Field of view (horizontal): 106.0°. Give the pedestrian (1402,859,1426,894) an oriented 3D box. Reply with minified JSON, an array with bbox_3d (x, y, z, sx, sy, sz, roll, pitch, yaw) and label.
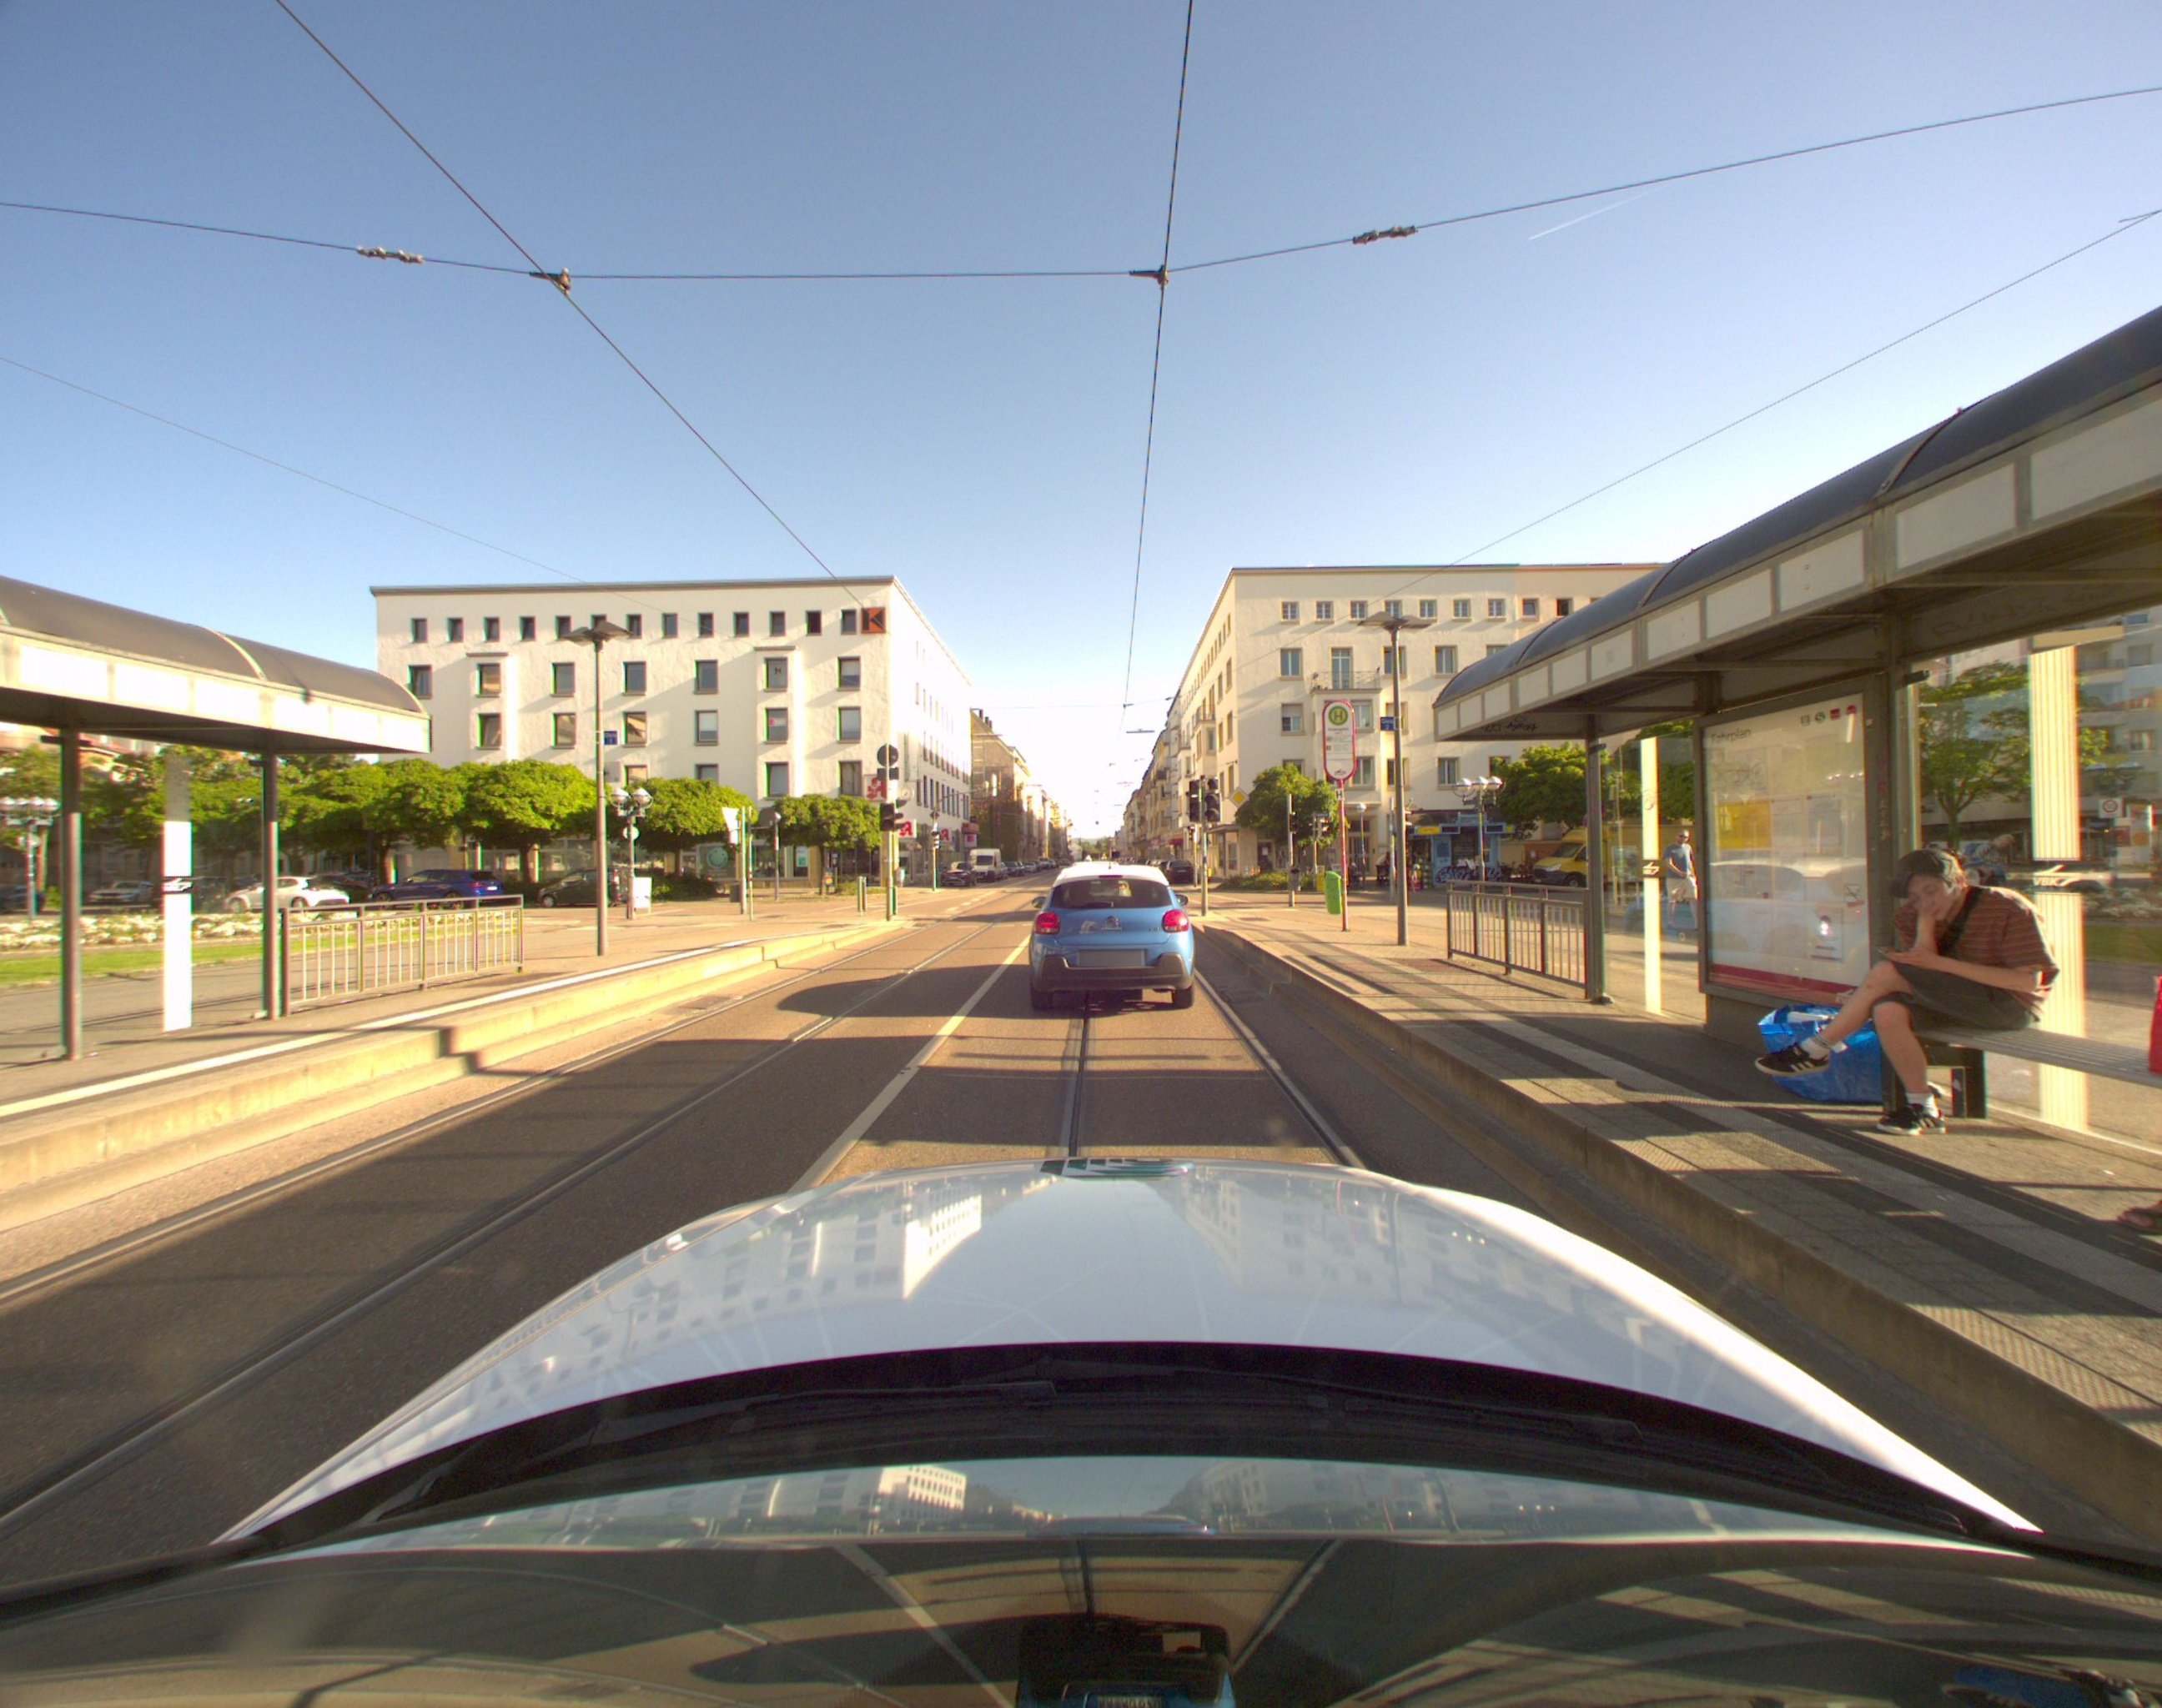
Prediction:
[{"bbox_3d":[14.072,0.948,34.443,0.727,1.409,0.755,-1,3,1],"label":"pedestrian"}]

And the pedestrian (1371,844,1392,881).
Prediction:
[{"bbox_3d":[15.046,0.409,40.751,0.781,1.839,0.679,-1,-1,5],"label":"pedestrian"}]

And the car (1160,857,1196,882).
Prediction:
[{"bbox_3d":[6.015,0.934,50.887,1.902,1.464,4.002,-1,0,2],"label":"car"}]

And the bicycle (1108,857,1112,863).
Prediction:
[{"bbox_3d":[6.868,1.466,190.309,0.916,1.389,3.133,-1,0,2],"label":"bicycle"}]

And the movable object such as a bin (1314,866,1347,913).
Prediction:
[{"bbox_3d":[4.304,0.610,14.070,0.447,0.786,0.489,-1,-1,4],"label":"movable object such as a bin"}]

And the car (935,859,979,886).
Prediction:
[{"bbox_3d":[-7.732,1.120,51.204,1.987,1.569,4.403,2,-1,1],"label":"car"}]

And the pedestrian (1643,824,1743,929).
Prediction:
[{"bbox_3d":[11.466,0.413,15.304,0.978,1.878,1.128,-1,-2,-1],"label":"pedestrian"}]

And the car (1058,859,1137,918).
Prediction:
[{"bbox_3d":[0.486,0.872,22.782,1.977,1.464,4.817,0,0,2],"label":"car"}]

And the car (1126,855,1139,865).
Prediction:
[{"bbox_3d":[8.247,0.996,131.742,1.986,1.464,4.002,-1,0,2],"label":"car"}]

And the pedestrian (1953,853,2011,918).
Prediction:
[{"bbox_3d":[16.610,0.579,15.021,0.466,1.169,0.559,0,-1,10],"label":"pedestrian"}]

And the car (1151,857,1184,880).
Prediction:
[{"bbox_3d":[5.946,0.983,56.106,1.986,1.464,4.002,-1,0,2],"label":"car"}]

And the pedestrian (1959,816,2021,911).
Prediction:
[{"bbox_3d":[17.165,0.182,15.382,0.554,1.745,0.528,0,-1,12],"label":"pedestrian"}]

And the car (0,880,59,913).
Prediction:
[{"bbox_3d":[-52.367,2.042,39.434,1.925,1.494,4.314,0,-1,-27],"label":"car"}]

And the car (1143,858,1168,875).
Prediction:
[{"bbox_3d":[6.471,1.092,71.397,1.986,1.464,4.002,-1,0,2],"label":"car"}]

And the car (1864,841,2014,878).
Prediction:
[{"bbox_3d":[36.601,0.254,34.866,3.959,1.512,2.007,0,-1,13],"label":"car"}]

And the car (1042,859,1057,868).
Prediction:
[{"bbox_3d":[-5.237,1.553,135.422,1.946,1.552,3.942,0,-1,4],"label":"car"}]

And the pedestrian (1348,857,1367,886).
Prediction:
[{"bbox_3d":[12.695,0.802,37.405,0.733,1.316,0.631,-1,-1,25],"label":"pedestrian"}]

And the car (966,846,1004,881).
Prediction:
[{"bbox_3d":[-7.206,0.713,61.565,2.078,2.542,6.206,0,0,1],"label":"car"}]

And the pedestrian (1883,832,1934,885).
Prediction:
[{"bbox_3d":[26.646,0.160,26.233,0.690,1.685,0.905,0,-1,1],"label":"pedestrian"}]

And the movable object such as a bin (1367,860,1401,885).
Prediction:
[{"bbox_3d":[14.312,0.880,38.513,1.194,1.153,1.218,-1,-1,2],"label":"movable object such as a bin"}]

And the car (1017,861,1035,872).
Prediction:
[{"bbox_3d":[-6.880,1.530,102.166,1.987,1.325,3.923,0,-1,1],"label":"car"}]

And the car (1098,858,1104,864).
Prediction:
[{"bbox_3d":[6.005,2.014,244.277,1.986,1.772,4.001,-1,0,2],"label":"car"}]

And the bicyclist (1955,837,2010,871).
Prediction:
[{"bbox_3d":[32.490,0.003,29.373,0.926,1.225,0.955,1,0,3],"label":"bicyclist"}]

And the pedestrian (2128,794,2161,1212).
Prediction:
[{"bbox_3d":[3.885,0.484,2.376,0.855,1.334,0.623,2,-1,1],"label":"pedestrian"}]

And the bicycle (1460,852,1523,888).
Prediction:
[{"bbox_3d":[17.653,0.685,35.043,2.376,1.531,0.726,1,0,0],"label":"bicycle"}]

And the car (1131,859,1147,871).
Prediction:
[{"bbox_3d":[7.474,1.378,104.934,1.986,1.464,4.002,-1,0,2],"label":"car"}]

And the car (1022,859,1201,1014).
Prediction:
[{"bbox_3d":[0.347,0.808,9.777,1.721,1.482,3.828,0,0,1],"label":"car"}]

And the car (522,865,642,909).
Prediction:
[{"bbox_3d":[-21.312,1.390,34.869,3.973,1.706,1.826,-1,-1,1],"label":"car"}]

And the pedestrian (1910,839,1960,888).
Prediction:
[{"bbox_3d":[27.904,0.309,26.623,0.897,1.585,0.663,-1,-1,5],"label":"pedestrian"}]

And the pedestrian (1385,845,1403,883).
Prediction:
[{"bbox_3d":[15.235,0.485,39.658,0.650,1.839,0.660,-1,-1,5],"label":"pedestrian"}]

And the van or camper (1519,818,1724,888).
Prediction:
[{"bbox_3d":[22.798,-0.060,34.595,7.093,2.747,2.372,-1,1,2],"label":"van or camper"}]

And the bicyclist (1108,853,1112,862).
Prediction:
[{"bbox_3d":[6.822,0.890,190.181,0.806,2.014,0.923,0,-1,1],"label":"bicyclist"}]

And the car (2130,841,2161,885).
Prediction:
[{"bbox_3d":[38.501,0.261,27.526,3.983,1.486,1.995,-1,-1,-7],"label":"car"}]

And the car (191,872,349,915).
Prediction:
[{"bbox_3d":[-33.582,1.615,33.813,4.591,1.606,1.855,-1,-1,-1],"label":"car"}]

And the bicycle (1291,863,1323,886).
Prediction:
[{"bbox_3d":[11.354,1.026,40.948,1.556,1.120,0.301,0,-1,12],"label":"bicycle"}]

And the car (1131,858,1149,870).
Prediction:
[{"bbox_3d":[7.270,1.252,100.486,1.986,1.464,4.507,-1,0,2],"label":"car"}]

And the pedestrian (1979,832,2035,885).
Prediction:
[{"bbox_3d":[28.276,0.145,24.879,0.897,1.585,0.663,-1,-1,5],"label":"pedestrian"}]

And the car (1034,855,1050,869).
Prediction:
[{"bbox_3d":[-5.947,1.223,125.760,1.997,2.014,4.693,0,-1,3],"label":"car"}]

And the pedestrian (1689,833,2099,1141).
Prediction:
[{"bbox_3d":[3.673,0.547,3.795,0.995,1.225,0.923,2,-1,1],"label":"pedestrian"}]

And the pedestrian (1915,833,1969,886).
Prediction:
[{"bbox_3d":[26.396,0.166,24.982,0.897,1.585,0.663,-1,-1,5],"label":"pedestrian"}]

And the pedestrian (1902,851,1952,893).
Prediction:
[{"bbox_3d":[26.532,0.553,25.551,0.897,1.279,0.605,-1,-1,4],"label":"pedestrian"}]

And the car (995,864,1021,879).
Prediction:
[{"bbox_3d":[-6.848,1.632,76.921,1.987,1.398,4.157,0,-1,1],"label":"car"}]

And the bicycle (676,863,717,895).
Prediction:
[{"bbox_3d":[-19.903,1.257,42.187,0.615,1.607,2.624,-1,-1,6],"label":"bicycle"}]

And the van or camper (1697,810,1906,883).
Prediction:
[{"bbox_3d":[30.057,-0.291,34.185,6.375,2.839,2.381,-1,-1,5],"label":"van or camper"}]

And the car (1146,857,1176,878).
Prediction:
[{"bbox_3d":[6.015,0.974,61.345,1.986,1.501,4.002,-1,0,2],"label":"car"}]

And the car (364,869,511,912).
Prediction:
[{"bbox_3d":[-27.252,1.535,34.606,4.591,1.662,1.999,-1,-1,-1],"label":"car"}]

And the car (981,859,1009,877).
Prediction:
[{"bbox_3d":[-7.196,1.150,68.312,1.881,1.496,3.562,0,-1,1],"label":"car"}]

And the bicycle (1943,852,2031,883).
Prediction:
[{"bbox_3d":[32.650,0.489,29.371,2.305,1.061,0.721,1,0,3],"label":"bicycle"}]

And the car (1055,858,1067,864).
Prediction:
[{"bbox_3d":[-3.665,1.338,153.032,1.986,1.156,4.002,-1,0,2],"label":"car"}]
